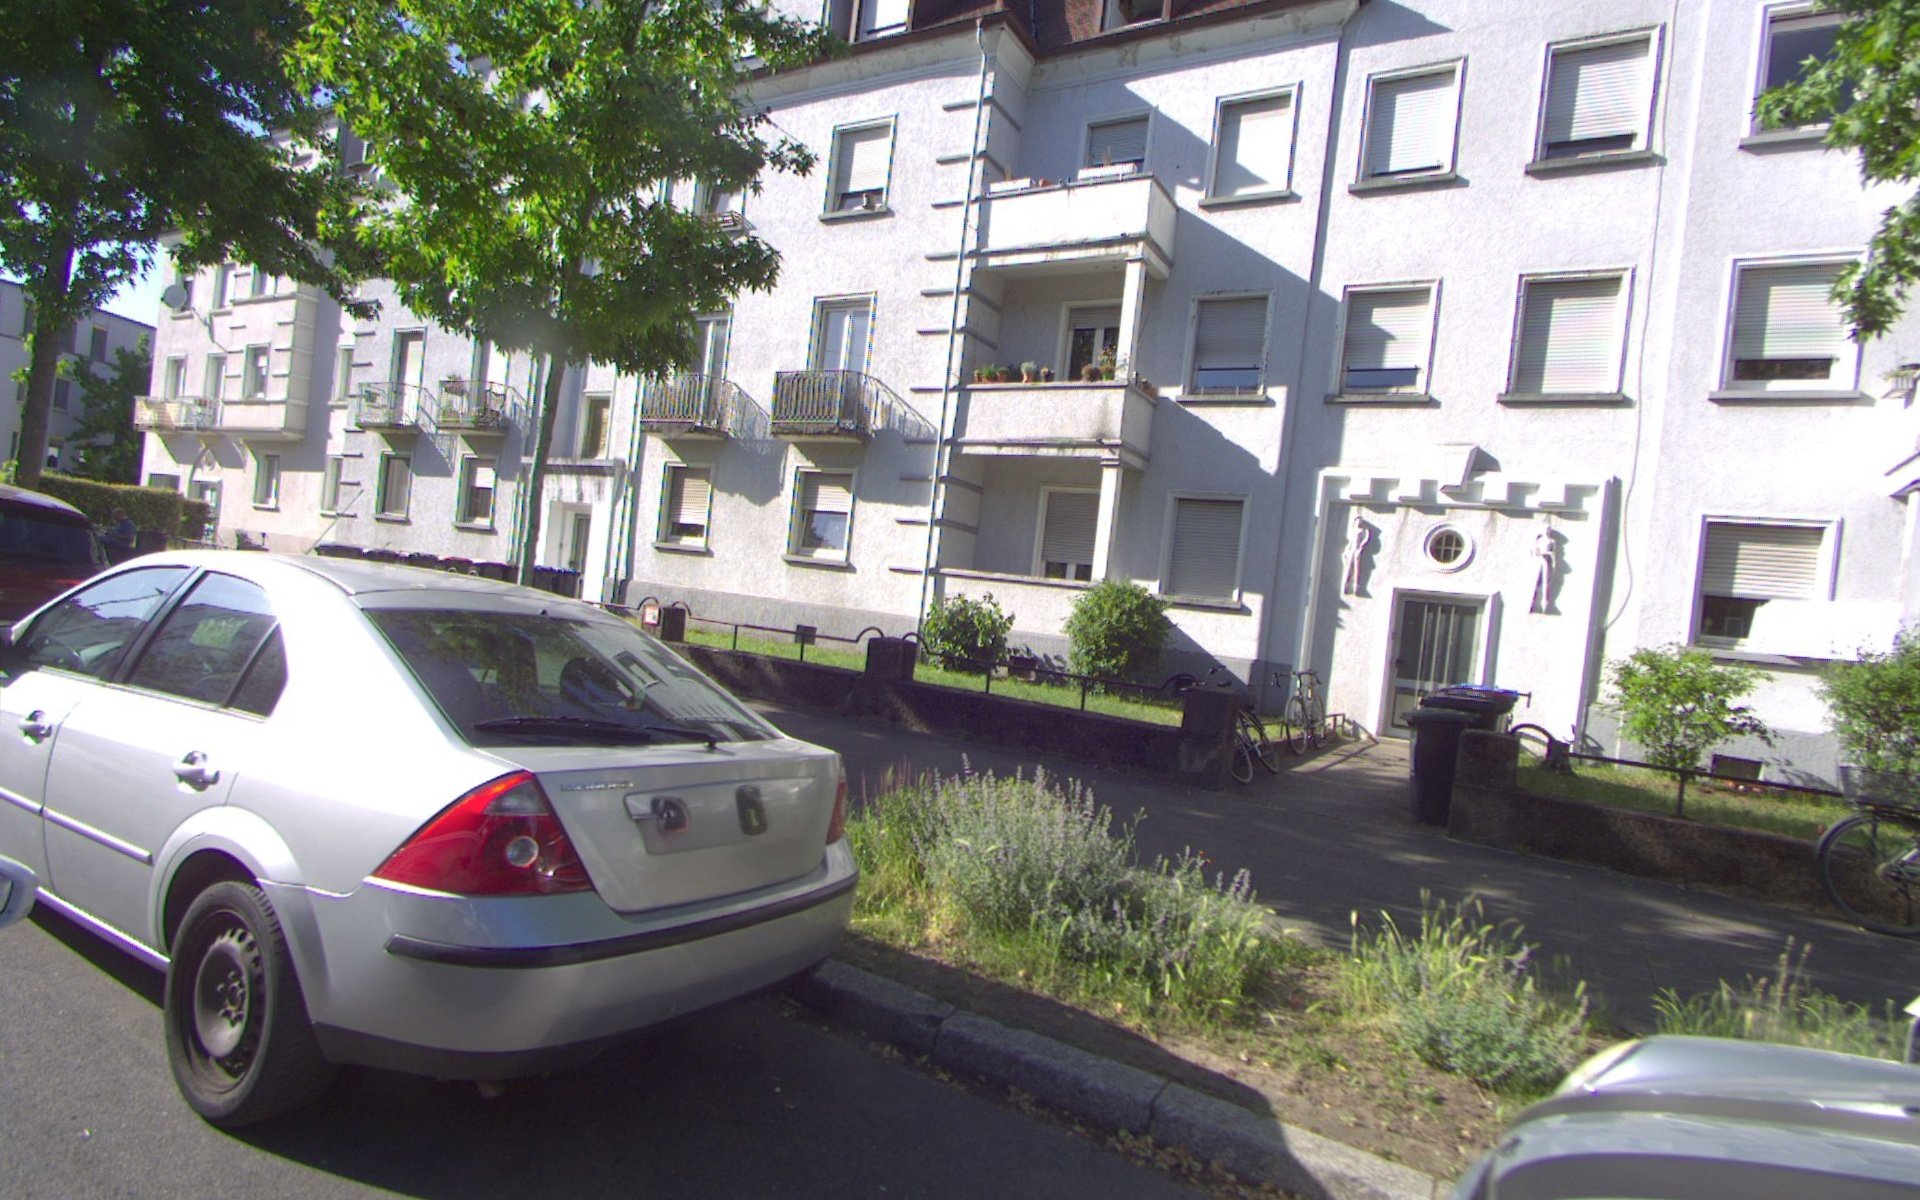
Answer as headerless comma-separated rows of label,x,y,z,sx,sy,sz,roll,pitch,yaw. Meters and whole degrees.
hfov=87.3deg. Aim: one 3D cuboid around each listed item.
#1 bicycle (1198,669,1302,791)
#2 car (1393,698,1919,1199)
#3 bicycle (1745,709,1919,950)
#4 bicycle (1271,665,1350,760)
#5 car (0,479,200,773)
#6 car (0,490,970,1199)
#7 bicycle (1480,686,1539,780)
bicycle,2.879,1.235,9.892,0.493,0.984,1.579,7,3,31
car,2.459,1.084,0.874,3.718,1.470,1.792,6,-1,31
bicycle,6.157,1.446,5.918,2.192,1.272,0.840,6,0,27
bicycle,4.309,1.339,12.312,0.468,0.984,1.579,7,3,32
car,-7.451,-0.051,6.946,4.241,1.718,1.912,7,-3,31
car,-2.505,0.519,3.888,4.620,1.490,1.902,6,-3,30
bicycle,7.168,1.702,13.172,0.467,0.984,1.581,6,3,24
